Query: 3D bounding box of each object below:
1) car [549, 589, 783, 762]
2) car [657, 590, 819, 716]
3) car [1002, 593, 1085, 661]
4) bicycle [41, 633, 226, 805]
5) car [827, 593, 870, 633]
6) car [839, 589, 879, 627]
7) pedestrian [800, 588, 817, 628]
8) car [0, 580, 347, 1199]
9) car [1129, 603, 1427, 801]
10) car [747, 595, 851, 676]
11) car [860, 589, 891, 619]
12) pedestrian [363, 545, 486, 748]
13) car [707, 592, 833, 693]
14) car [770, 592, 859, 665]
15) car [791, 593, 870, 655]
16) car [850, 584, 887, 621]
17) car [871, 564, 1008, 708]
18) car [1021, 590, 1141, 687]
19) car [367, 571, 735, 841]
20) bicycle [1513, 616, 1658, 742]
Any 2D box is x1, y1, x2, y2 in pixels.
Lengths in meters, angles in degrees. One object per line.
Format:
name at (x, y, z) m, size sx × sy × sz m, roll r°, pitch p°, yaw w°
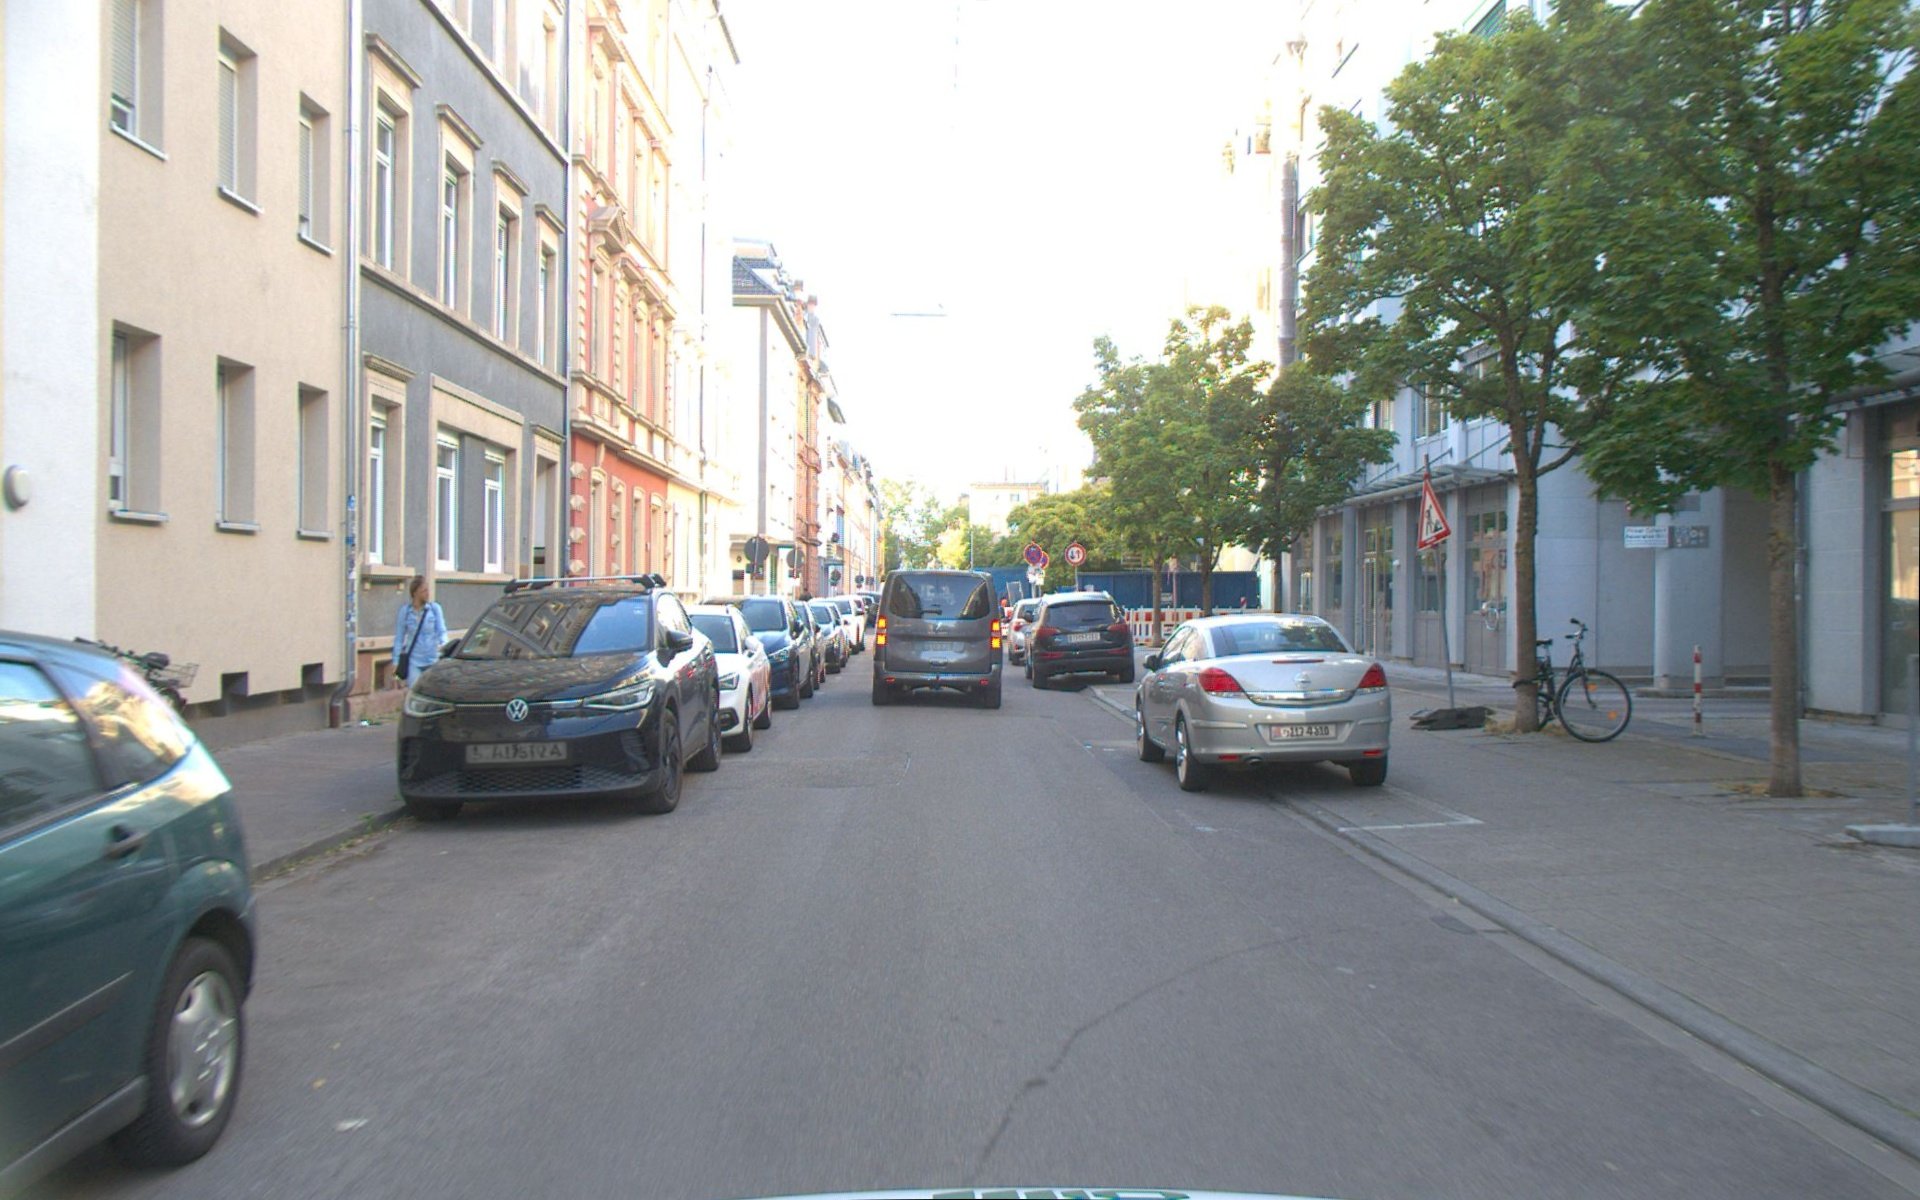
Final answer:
car at (-3.043, 0.706, 17.983) m, size 1.882 × 1.587 × 4.265 m, roll -2°, pitch 1°, yaw -2°
car at (-3.121, 0.694, 24.086) m, size 1.882 × 1.587 × 4.265 m, roll -2°, pitch 1°, yaw -2°
car at (1.981, 0.631, 40.434) m, size 1.643 × 1.551 × 3.968 m, roll -1°, pitch 0°, yaw -2°
bicycle at (-5.863, 0.808, 11.829) m, size 0.441 × 1.093 × 1.751 m, roll 1°, pitch 0°, yaw -1°
car at (-4.650, 0.525, 68.788) m, size 1.624 × 1.485 × 3.414 m, roll 5°, pitch -1°, yaw -5°
car at (-5.196, 0.398, 84.845) m, size 1.855 × 1.749 × 3.750 m, roll 5°, pitch -1°, yaw -5°
pedestrian at (-6.466, 0.325, 70.692) m, size 0.725 × 1.693 × 0.703 m, roll 0°, pitch 0°, yaw -6°
car at (-2.795, 0.737, 3.093) m, size 1.743 × 1.514 × 4.419 m, roll -1°, pitch 0°, yaw -2°
car at (2.650, 0.783, 14.802) m, size 1.728 × 1.454 × 4.344 m, roll -1°, pitch 0°, yaw -1°
car at (-3.326, 0.696, 34.900) m, size 1.882 × 1.509 × 4.265 m, roll -2°, pitch 1°, yaw -2°
car at (-5.869, 0.307, 114.383) m, size 1.855 × 1.878 × 4.344 m, roll 5°, pitch -1°, yaw -5°
pedestrian at (-5.005, 0.421, 15.514) m, size 0.773 × 1.822 × 1.092 m, roll -1°, pitch 0°, yaw -1°
car at (-3.297, 0.693, 29.427) m, size 1.863 × 1.587 × 4.239 m, roll -2°, pitch 1°, yaw -2°
car at (-3.485, 0.642, 40.319) m, size 1.882 × 1.587 × 4.265 m, roll -2°, pitch 1°, yaw -2°
car at (-3.528, 0.628, 45.721) m, size 1.882 × 1.533 × 4.266 m, roll -2°, pitch 1°, yaw -1°
car at (-5.228, 0.147, 94.217) m, size 1.855 × 1.878 × 4.344 m, roll 5°, pitch -1°, yaw -5°
car at (-0.307, 0.503, 24.535) m, size 1.827 × 1.919 × 4.234 m, roll 1°, pitch -1°, yaw -1°
car at (2.209, 0.672, 31.283) m, size 1.847 × 1.651 × 4.433 m, roll -1°, pitch 0°, yaw -1°
car at (-2.961, 0.665, 13.015) m, size 1.882 × 1.692 × 4.467 m, roll -2°, pitch 1°, yaw -2°
bicycle at (6.324, 0.771, 16.815) m, size 0.511 × 1.189 × 1.735 m, roll -1°, pitch 0°, yaw -11°
